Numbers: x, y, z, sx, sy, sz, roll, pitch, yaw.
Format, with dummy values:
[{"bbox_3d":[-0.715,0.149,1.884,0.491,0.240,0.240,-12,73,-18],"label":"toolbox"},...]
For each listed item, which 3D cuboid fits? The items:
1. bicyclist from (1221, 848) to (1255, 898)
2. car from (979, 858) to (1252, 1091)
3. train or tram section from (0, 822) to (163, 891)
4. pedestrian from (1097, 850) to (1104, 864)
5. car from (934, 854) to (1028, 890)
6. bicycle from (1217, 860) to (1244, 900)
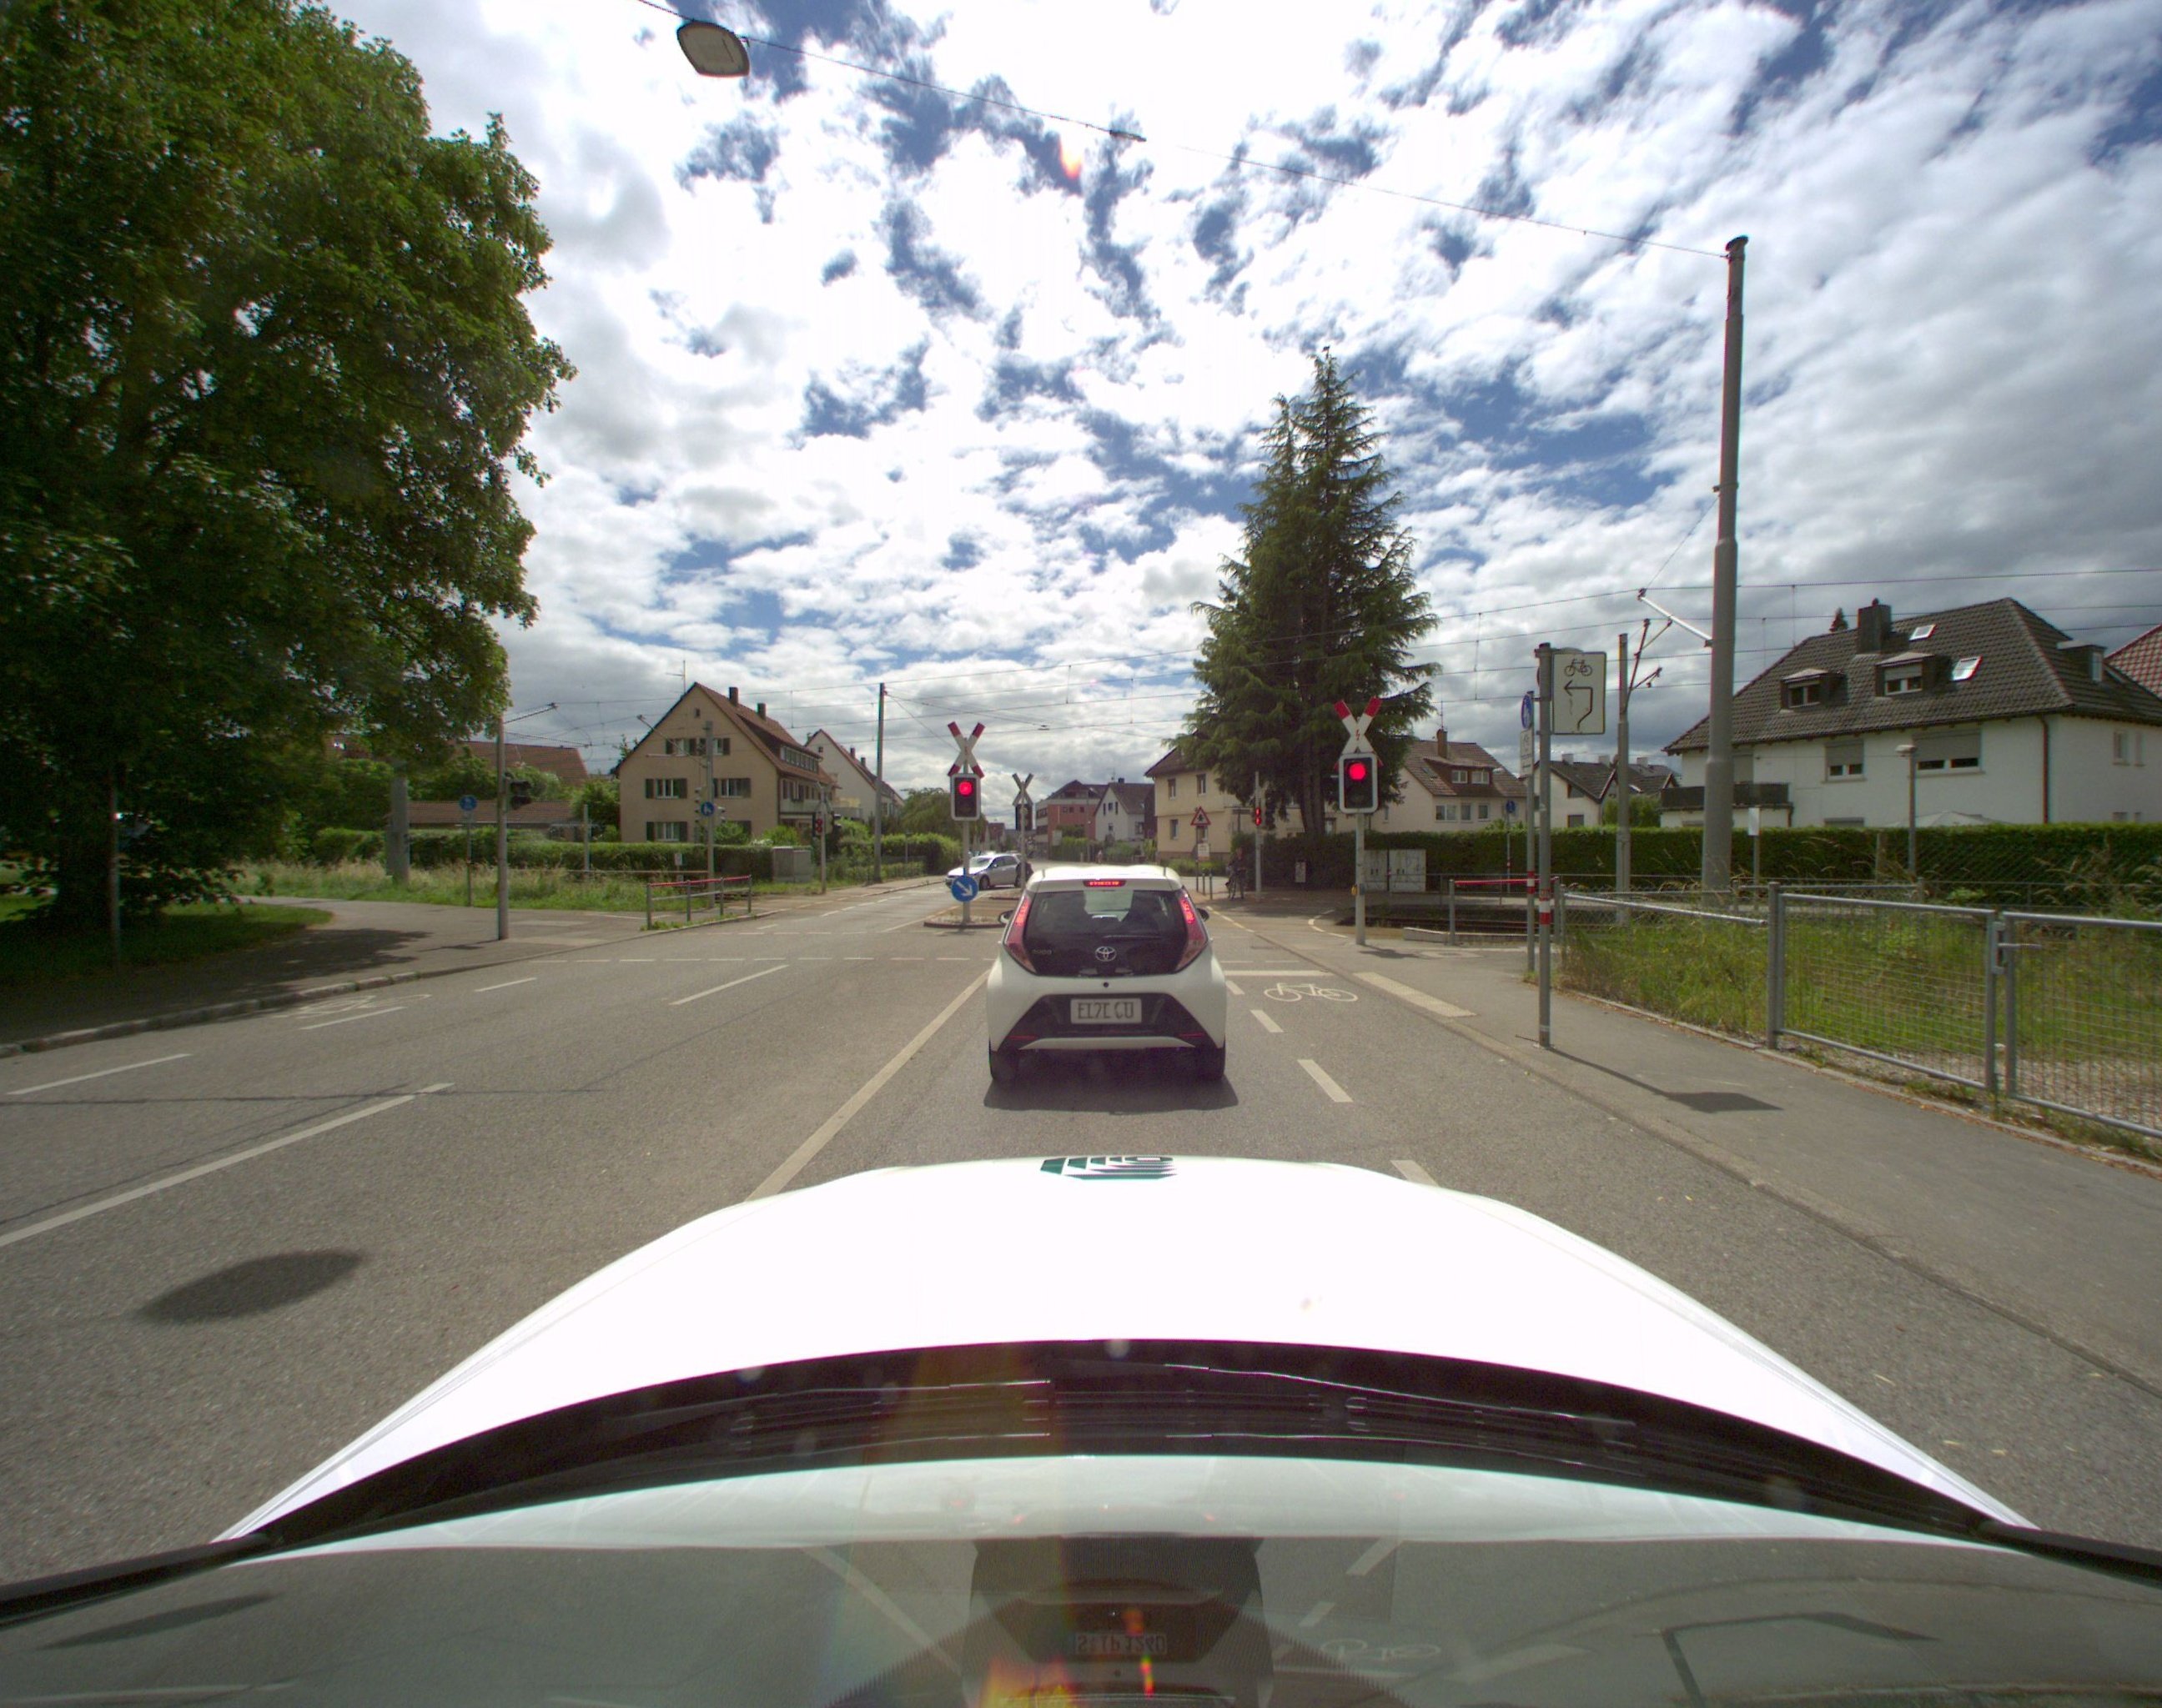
[{"bbox_3d":[5.111,0.608,26.518,0.839,1.553,0.755,-3,2,-4],"label":"bicyclist"},{"bbox_3d":[0.178,0.773,6.992,1.716,1.442,3.706,0,0,-2],"label":"car"},{"bbox_3d":[-61.792,0.076,49.216,18.885,3.704,2.936,0,1,24],"label":"train or tram section"},{"bbox_3d":[2.190,0.306,91.477,0.724,1.576,0.803,0,0,-2],"label":"pedestrian"},{"bbox_3d":[-4.199,0.743,34.938,1.887,1.441,4.124,0,0,30],"label":"car"},{"bbox_3d":[4.859,0.821,26.547,0.456,1.172,1.477,-3,2,-4],"label":"bicycle"}]
